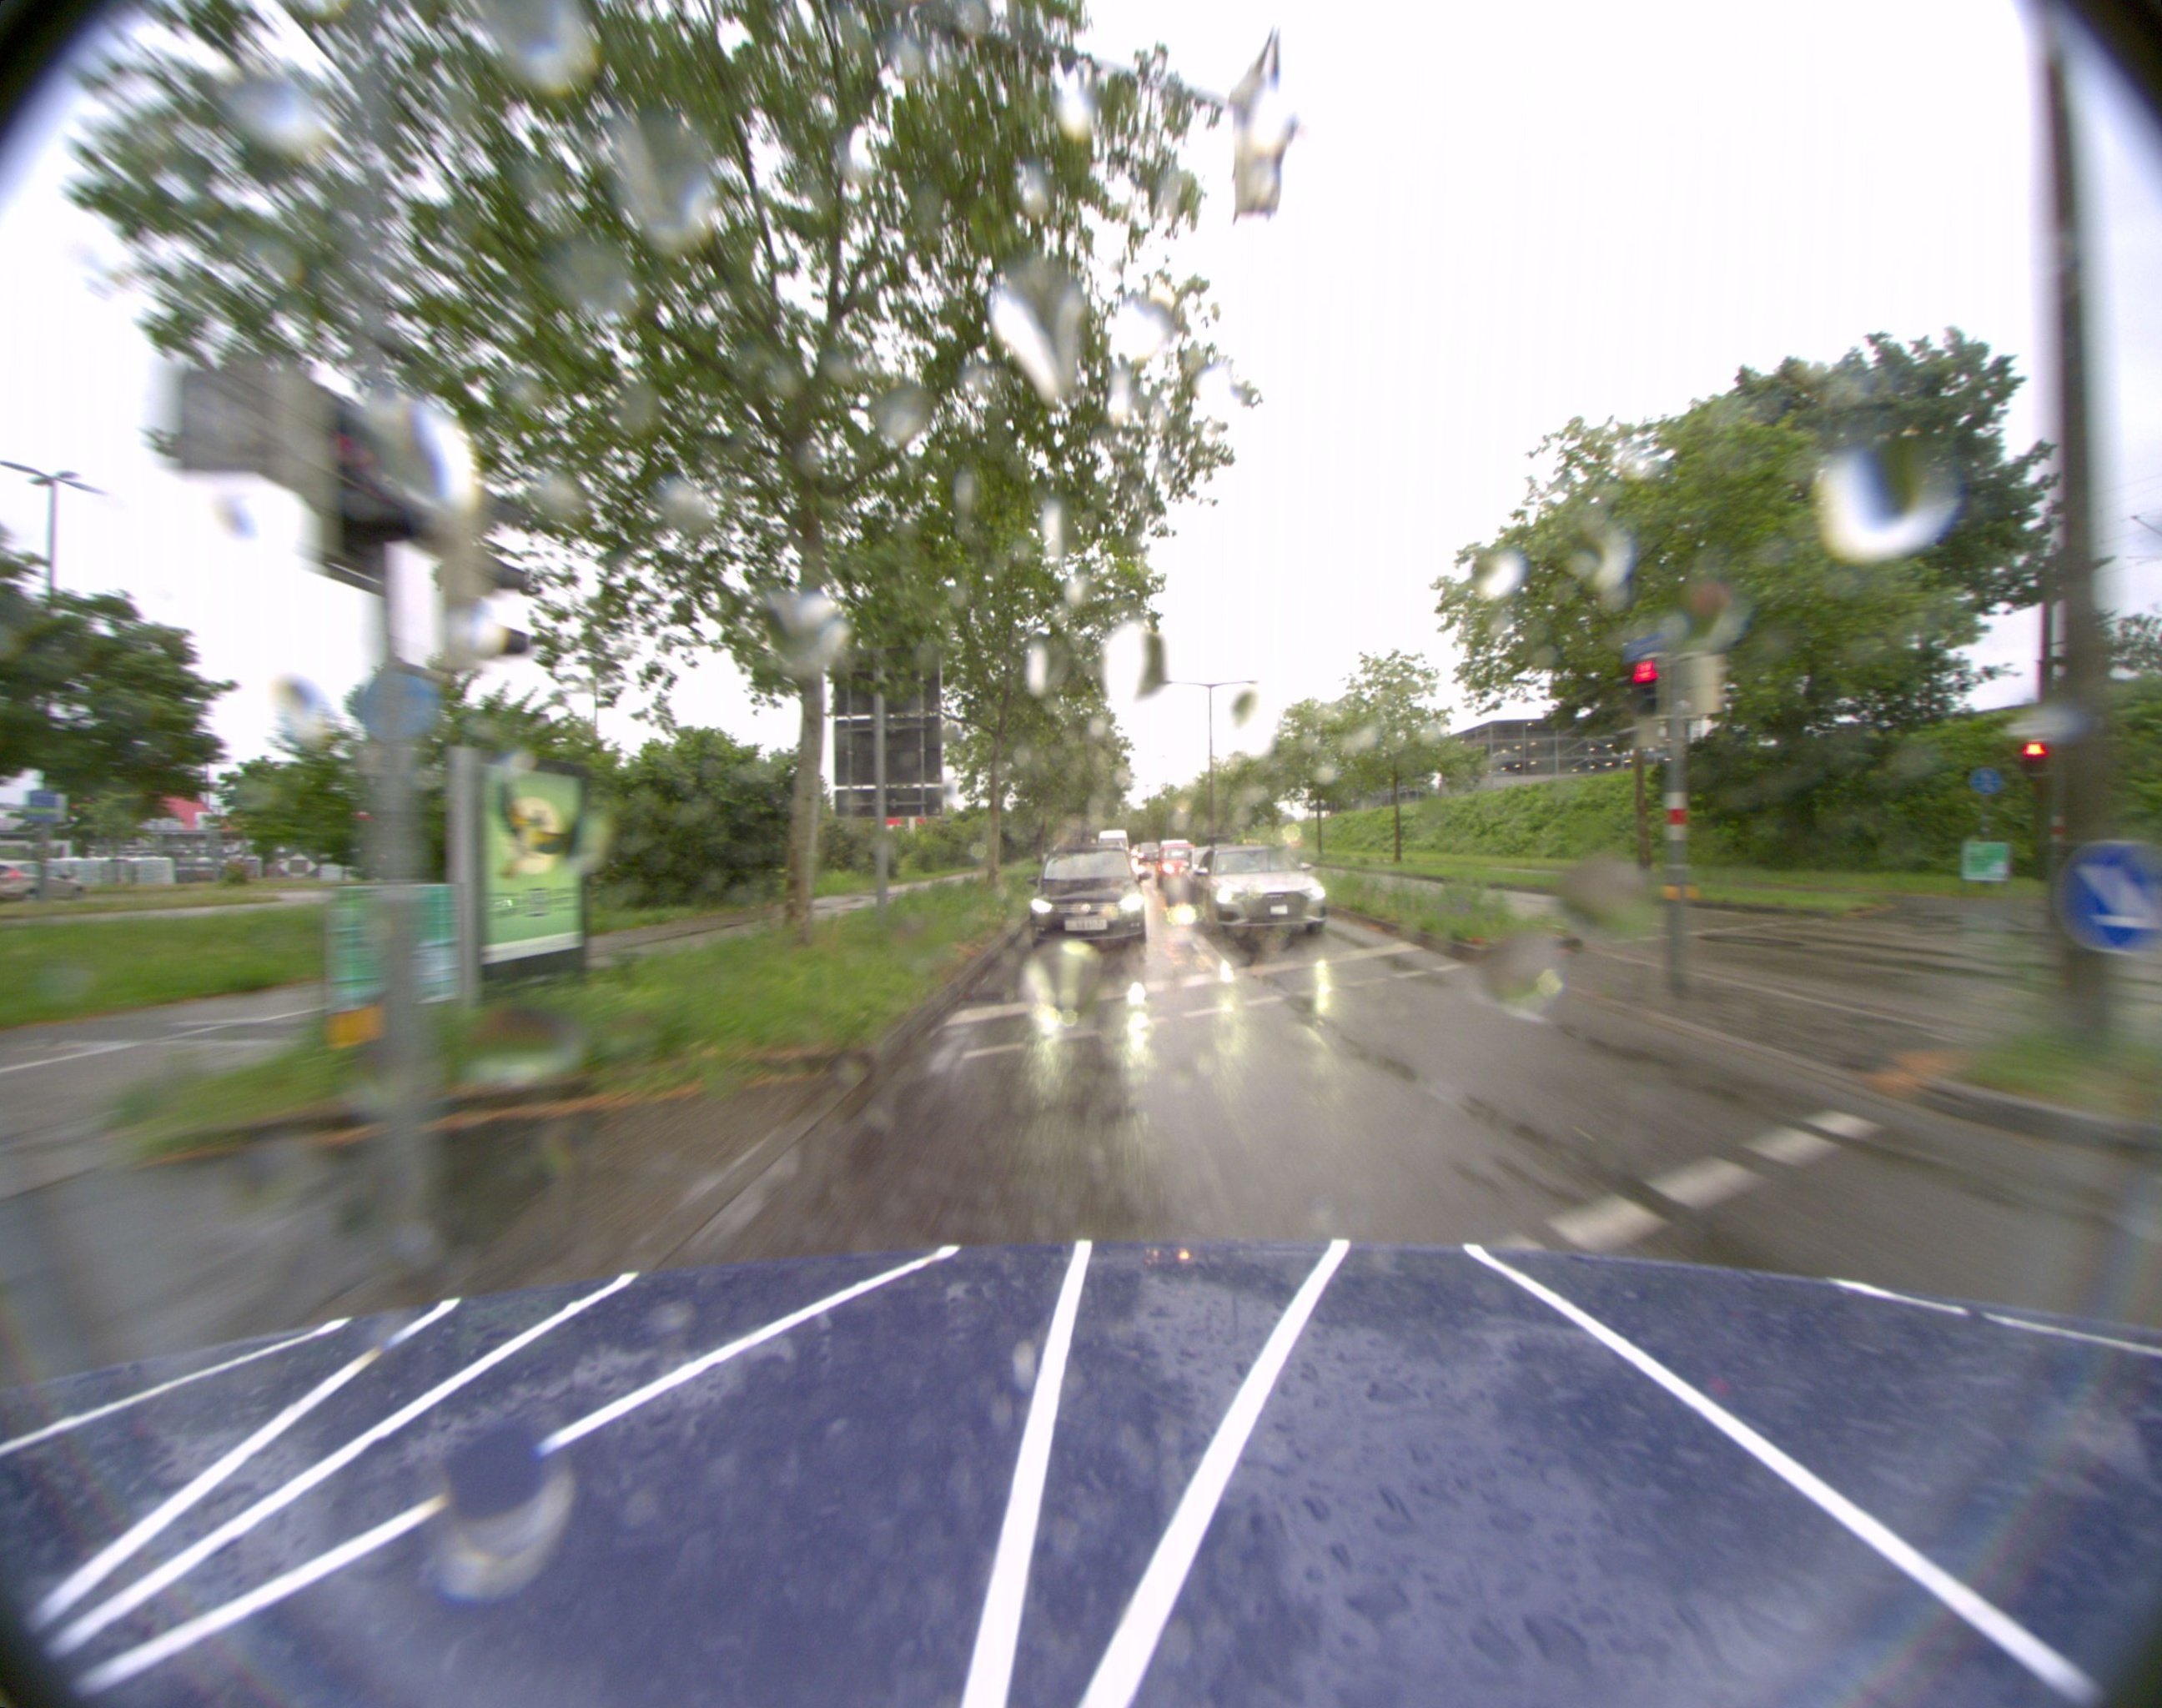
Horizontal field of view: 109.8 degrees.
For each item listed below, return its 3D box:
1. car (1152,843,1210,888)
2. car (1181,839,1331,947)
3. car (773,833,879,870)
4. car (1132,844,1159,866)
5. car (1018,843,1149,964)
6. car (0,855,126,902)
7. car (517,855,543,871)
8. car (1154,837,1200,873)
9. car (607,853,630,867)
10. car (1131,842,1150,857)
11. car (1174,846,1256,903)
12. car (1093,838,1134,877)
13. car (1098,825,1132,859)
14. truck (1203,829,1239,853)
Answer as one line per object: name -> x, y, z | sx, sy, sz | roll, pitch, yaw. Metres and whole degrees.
car -> 3.612, 0.371, 27.974 | 1.723, 1.456, 4.092 | -3, 1, 3
car -> 3.017, 0.567, 14.110 | 1.773, 1.565, 4.821 | -3, 1, 2
car -> -17.435, -0.219, 52.279 | 6.423, 2.349, 2.390 | -1, 2, -6
car -> 4.918, 0.067, 58.617 | 1.715, 1.494, 3.999 | -3, 1, 1
car -> 0.081, 0.671, 13.095 | 1.771, 1.596, 4.626 | -3, 1, 1
car -> -32.164, 0.715, 23.203 | 1.871, 1.285, 4.042 | -1, 1, -21
car -> -62.858, 0.978, 86.738 | 2.006, 1.667, 4.262 | -2, 2, -31
car -> 4.748, -0.007, 38.047 | 1.831, 1.603, 4.147 | -3, 1, 2
car -> -56.394, 0.686, 92.661 | 1.932, 1.544, 4.263 | -2, 1, -26
car -> 6.518, -0.476, 83.073 | 1.715, 1.494, 3.999 | -3, 1, 1
car -> 3.729, 0.512, 21.764 | 1.682, 1.369, 4.010 | -3, 1, 1
car -> 1.622, 0.145, 37.809 | 1.831, 1.737, 4.147 | -3, 1, 2
car -> 2.286, -0.820, 50.207 | 1.998, 2.002, 5.132 | -3, 2, 3
truck -> 14.283, -1.339, 77.880 | 2.480, 2.352, 6.866 | -1, 1, 1
